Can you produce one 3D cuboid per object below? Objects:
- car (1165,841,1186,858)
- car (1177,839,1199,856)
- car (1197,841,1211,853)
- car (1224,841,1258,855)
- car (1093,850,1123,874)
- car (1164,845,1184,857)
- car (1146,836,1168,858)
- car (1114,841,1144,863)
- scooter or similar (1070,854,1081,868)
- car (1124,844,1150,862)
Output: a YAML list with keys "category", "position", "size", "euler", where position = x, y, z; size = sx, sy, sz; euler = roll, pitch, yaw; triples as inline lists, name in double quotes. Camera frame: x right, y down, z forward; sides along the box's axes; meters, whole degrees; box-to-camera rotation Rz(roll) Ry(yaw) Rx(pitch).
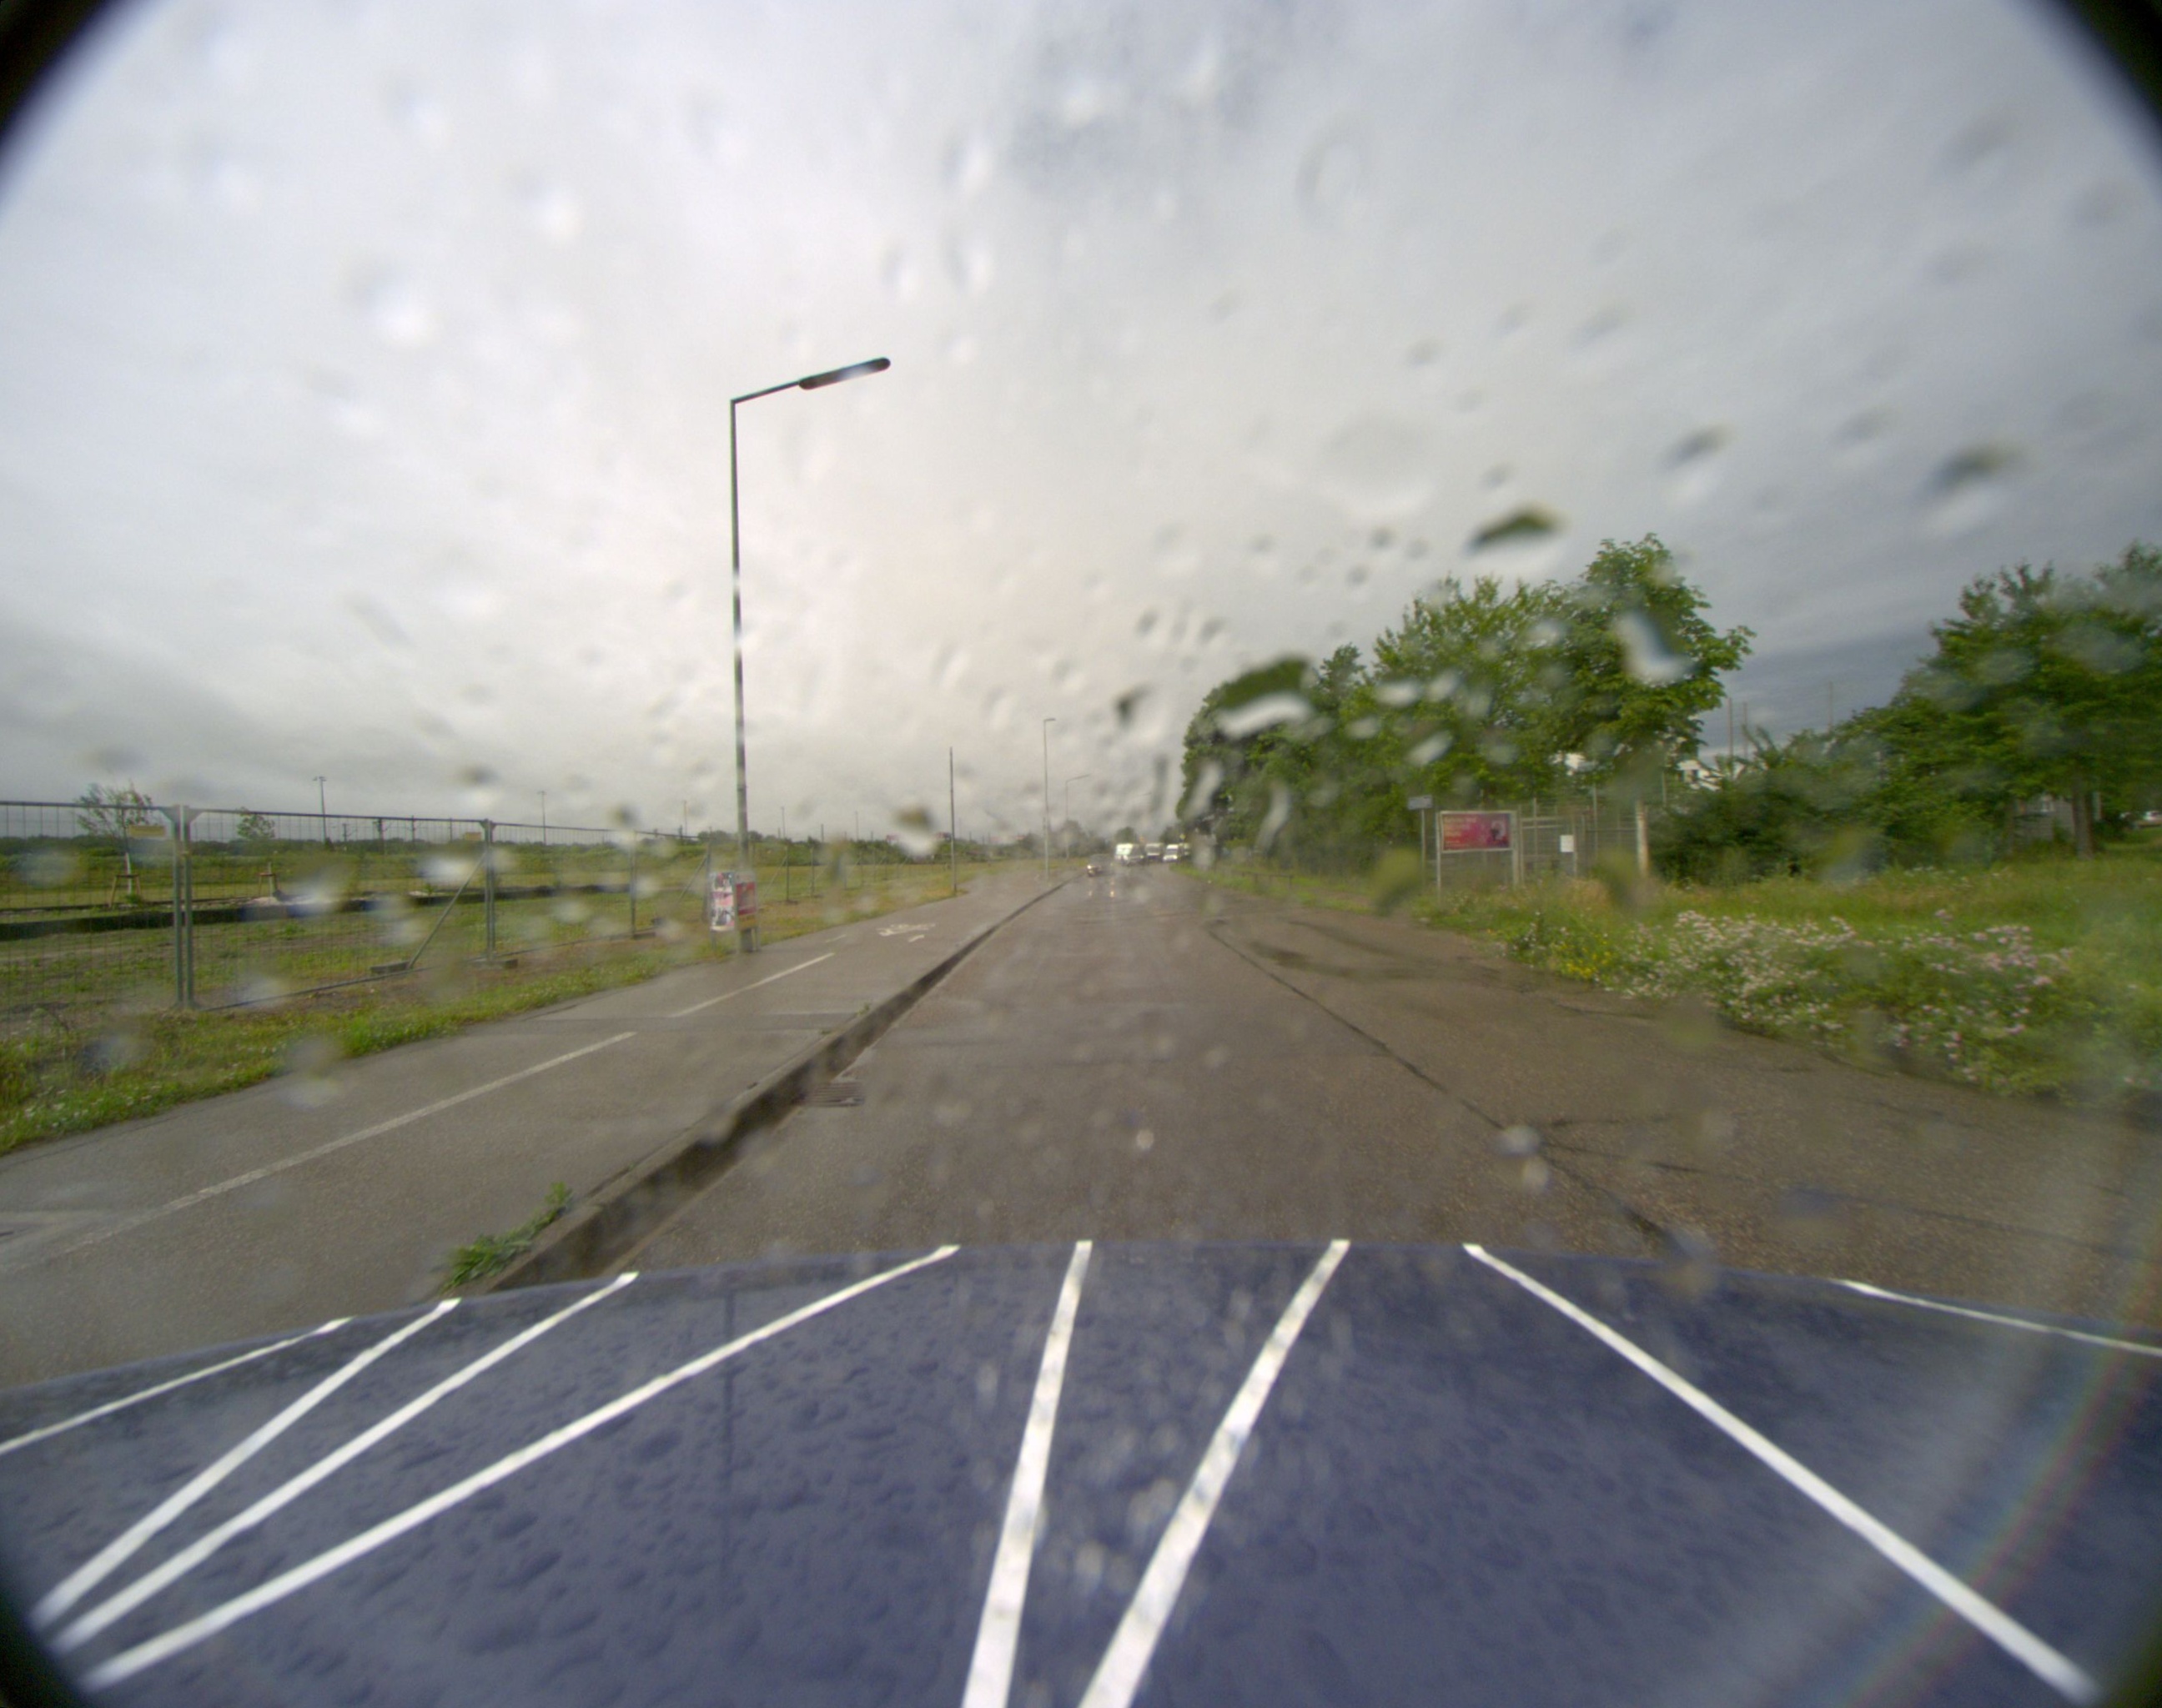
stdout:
- category: "car"
  position: [14.992, -0.716, 120.271]
  size: [2.071, 2.514, 6.666]
  euler: [0, 1, 18]
- category: "car"
  position: [18.377, -1.143, 130.206]
  size: [2.473, 2.939, 6.895]
  euler: [-1, 1, 19]
- category: "car"
  position: [23.786, -1.443, 146.740]
  size: [1.996, 2.228, 4.569]
  euler: [-2, 0, 17]
- category: "car"
  position: [21.352, -0.787, 101.405]
  size: [4.178, 1.540, 1.862]
  euler: [-5, 0, 16]
- category: "car"
  position: [1.813, 0.504, 50.941]
  size: [1.873, 1.510, 4.358]
  euler: [-2, 0, 3]
- category: "car"
  position: [12.343, -0.388, 100.371]
  size: [1.839, 1.510, 4.362]
  euler: [-2, 1, 17]
- category: "car"
  position: [10.512, -1.015, 104.465]
  size: [2.147, 2.867, 5.281]
  euler: [1, 2, 15]
- category: "car"
  position: [5.596, -0.262, 88.155]
  size: [2.094, 2.459, 5.953]
  euler: [0, 1, 17]
- category: "scooter or similar"
  position: [-0.516, 0.663, 71.418]
  size: [0.491, 1.208, 1.342]
  euler: [-1, 1, 25]
- category: "car"
  position: [5.804, -0.127, 78.208]
  size: [2.009, 1.695, 4.332]
  euler: [-4, 0, 11]
